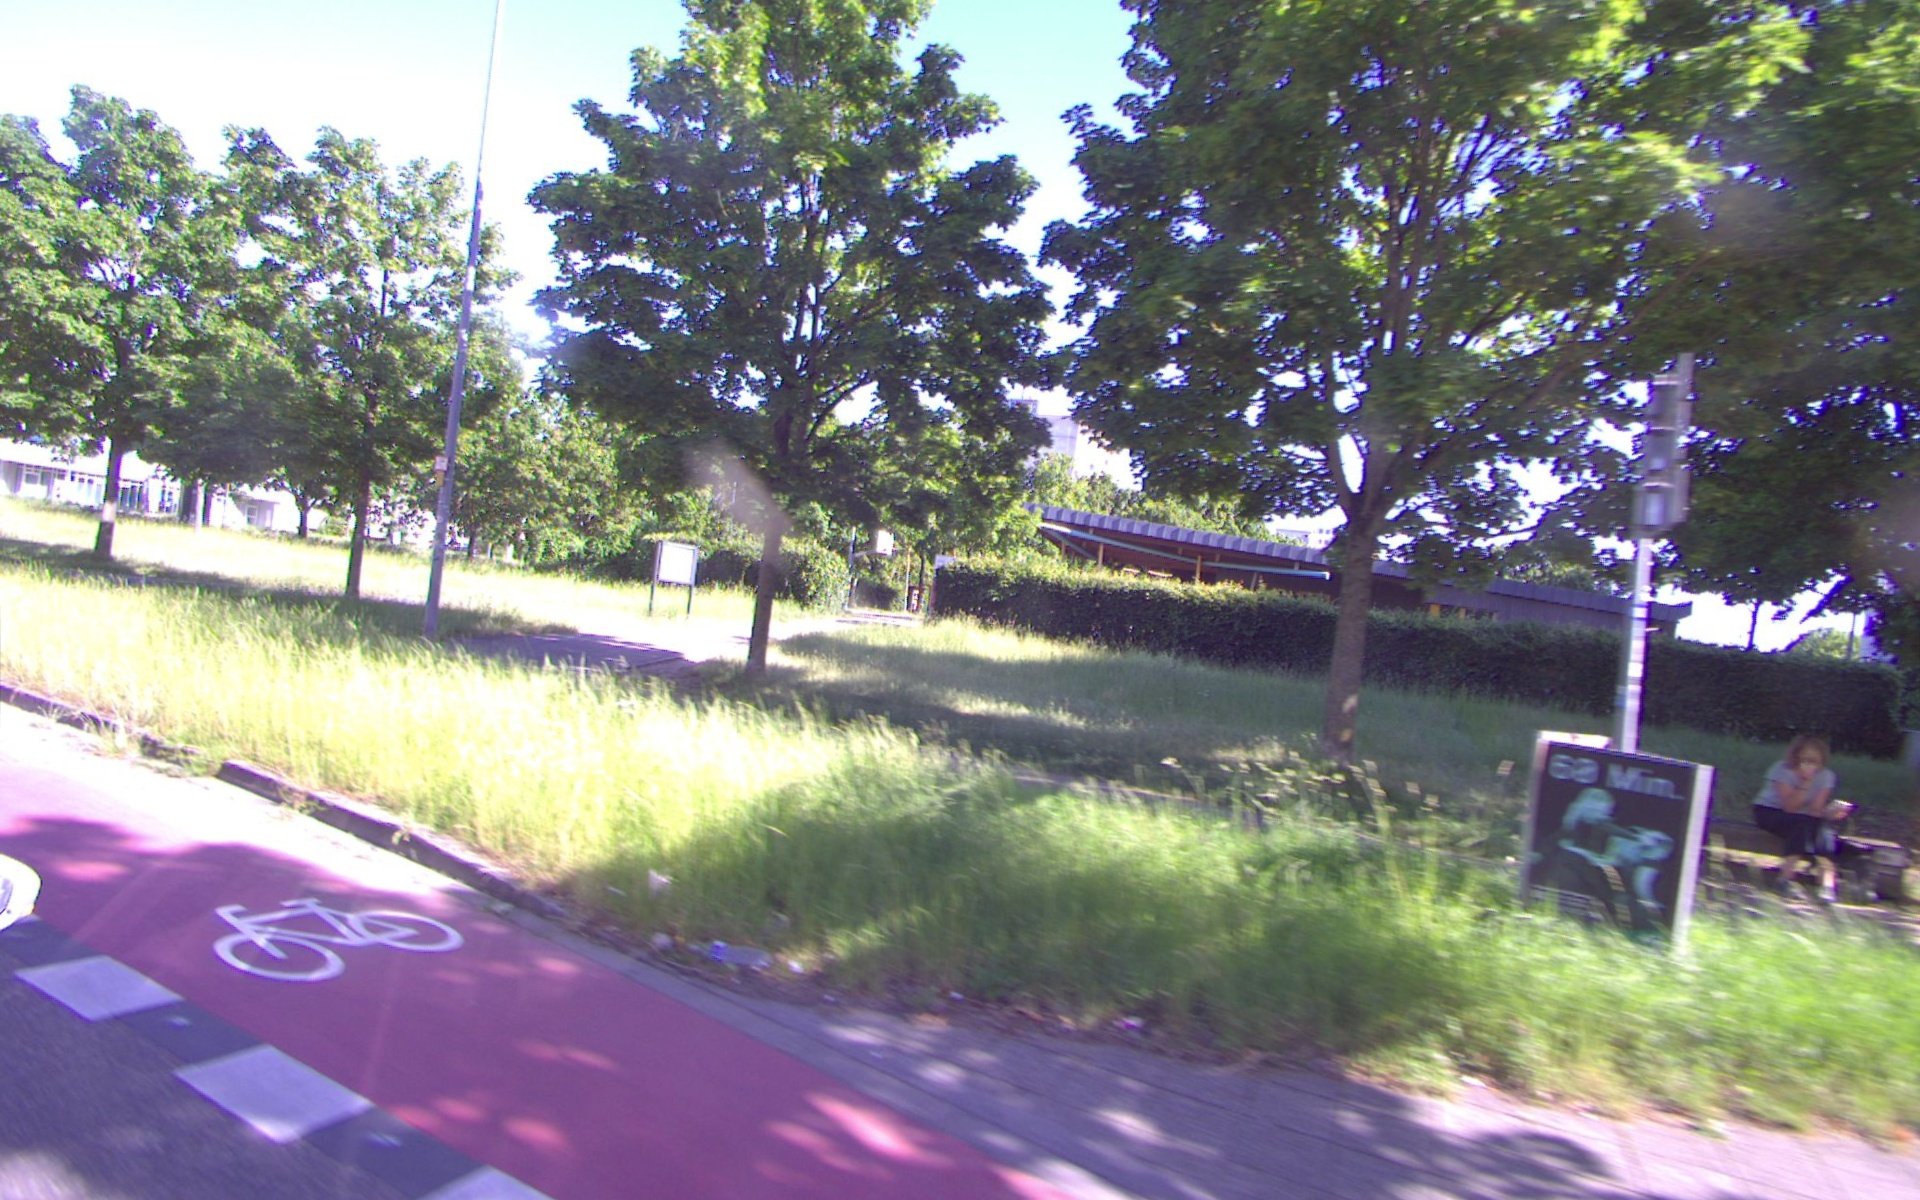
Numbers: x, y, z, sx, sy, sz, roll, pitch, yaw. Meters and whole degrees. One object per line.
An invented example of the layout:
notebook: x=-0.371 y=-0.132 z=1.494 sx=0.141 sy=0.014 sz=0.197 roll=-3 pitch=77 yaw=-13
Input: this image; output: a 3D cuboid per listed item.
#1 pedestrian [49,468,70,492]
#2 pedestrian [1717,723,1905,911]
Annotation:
pedestrian: x=-74.792 y=-9.964 z=83.539 sx=0.642 sy=1.744 sz=0.992 roll=8 pitch=1 yaw=25
pedestrian: x=6.764 y=1.695 z=8.052 sx=0.715 sy=1.233 sz=0.847 roll=7 pitch=1 yaw=14
